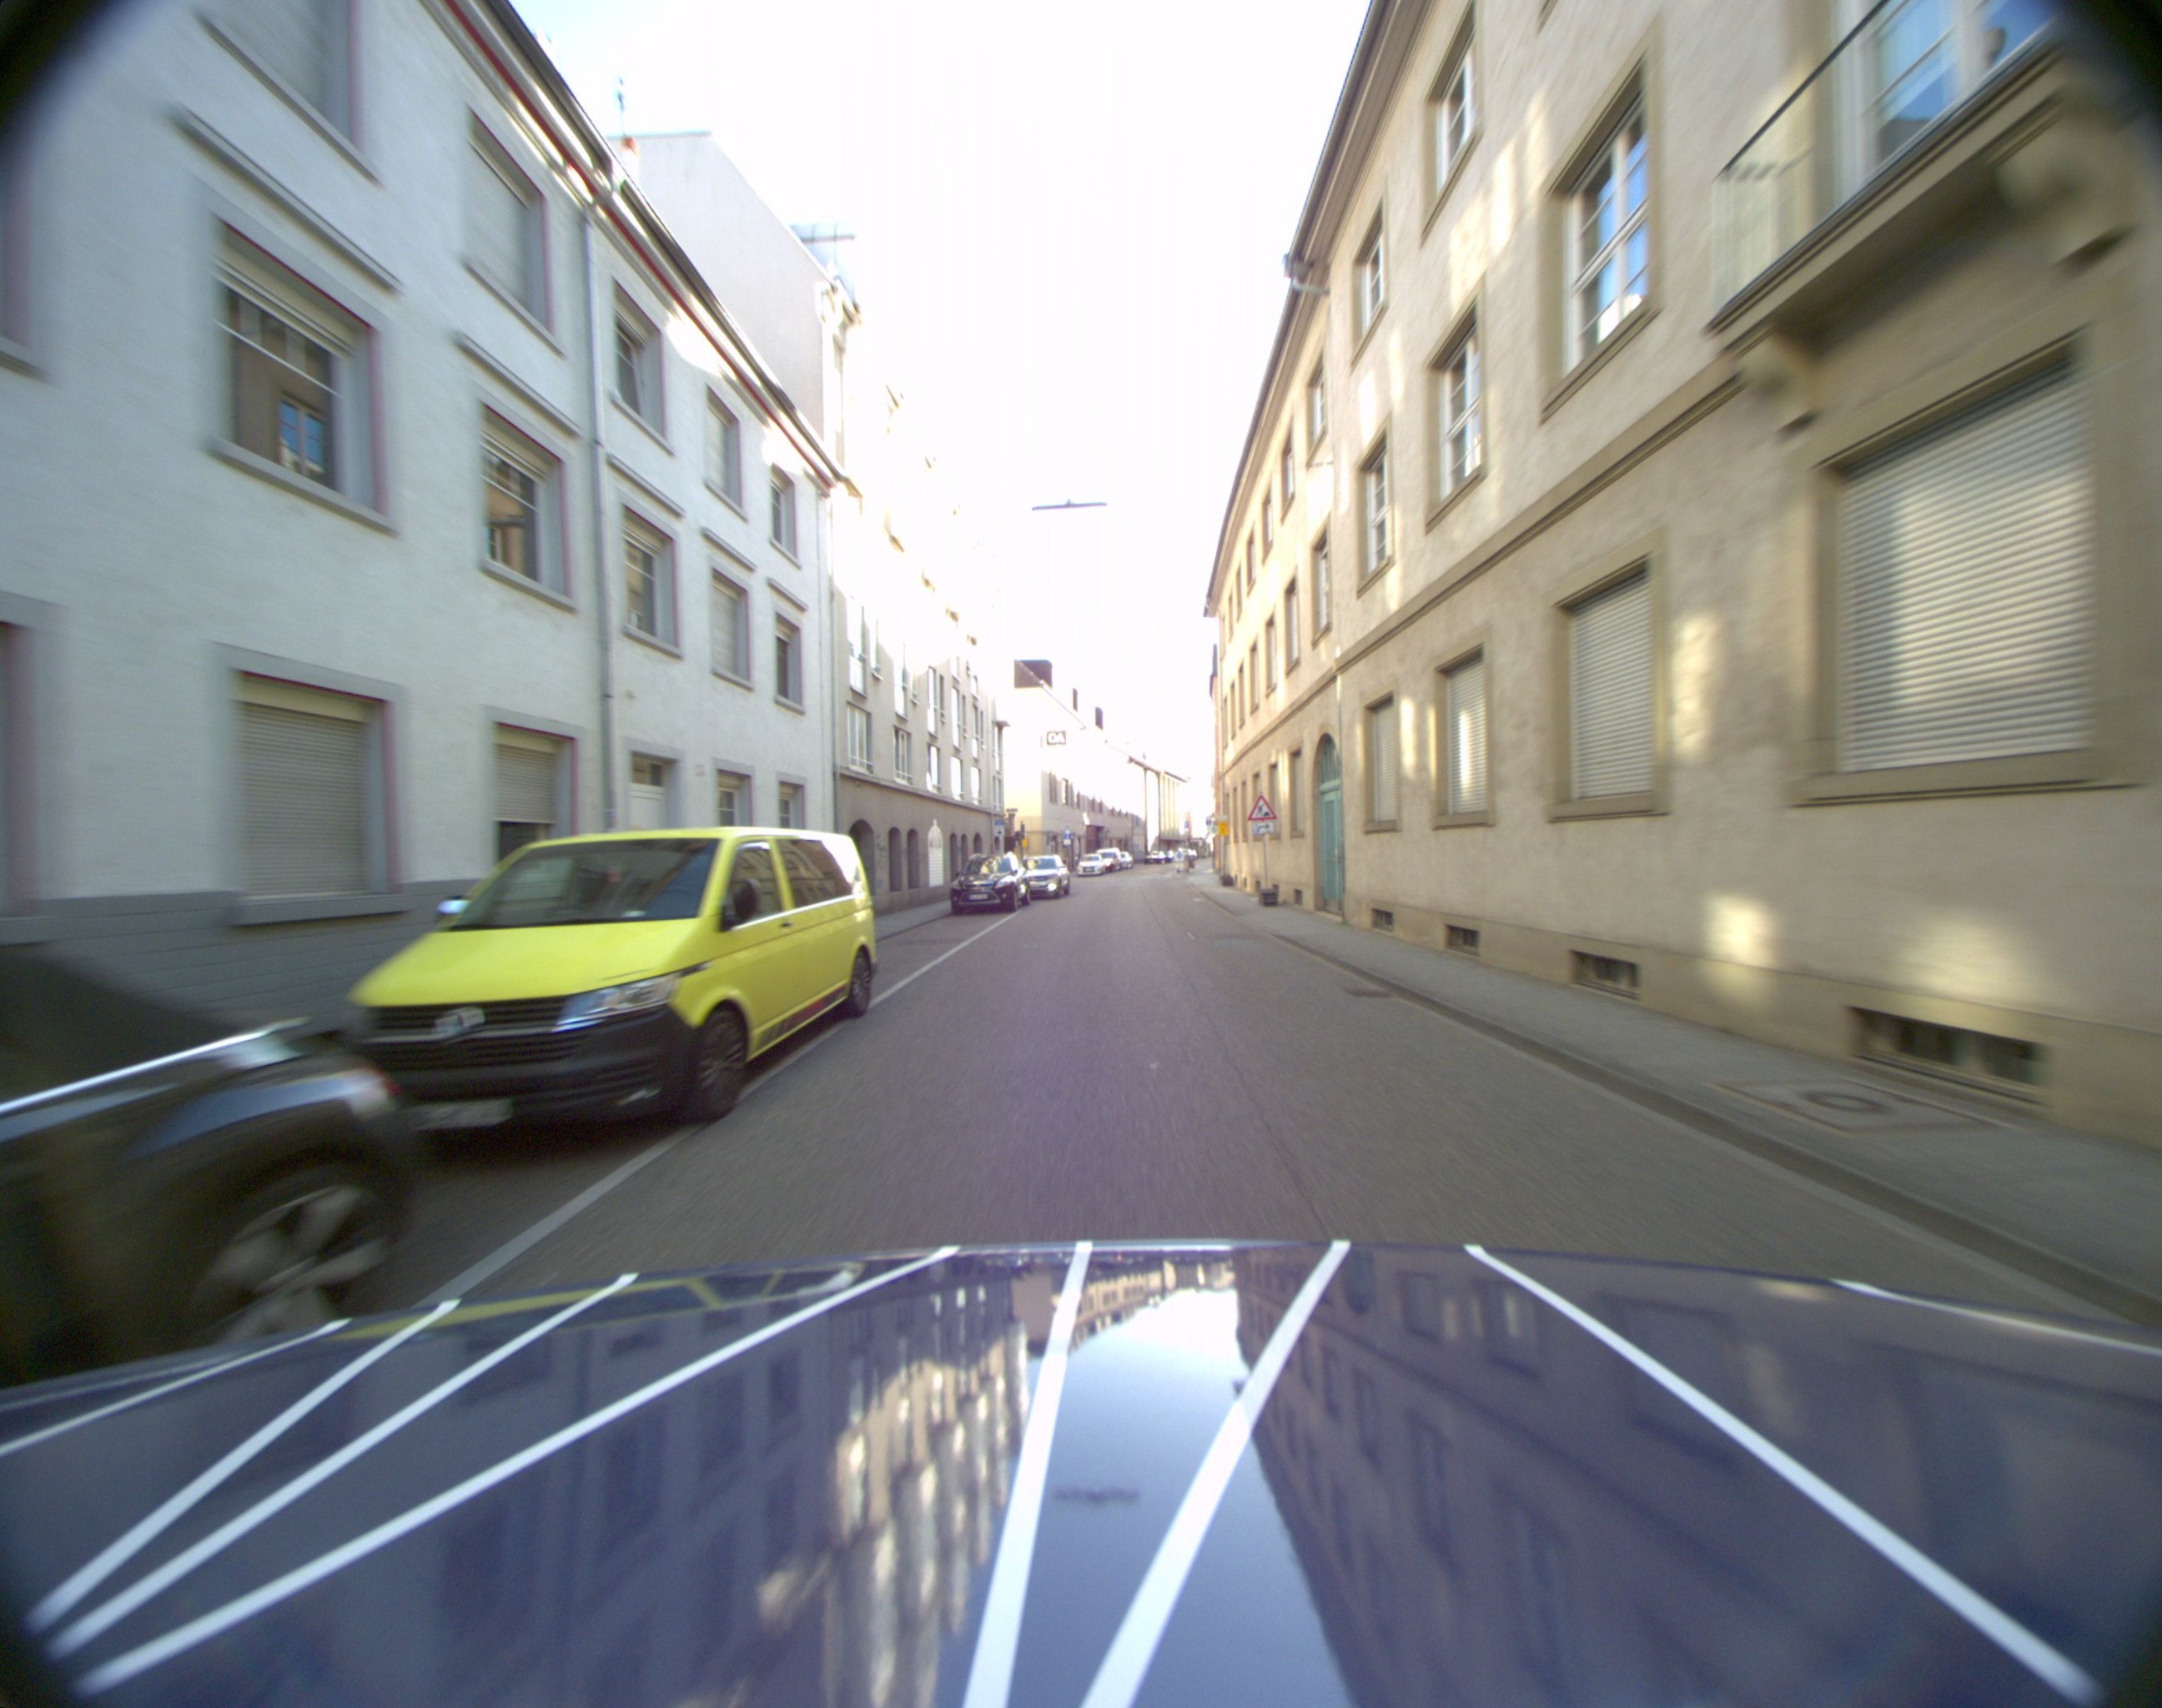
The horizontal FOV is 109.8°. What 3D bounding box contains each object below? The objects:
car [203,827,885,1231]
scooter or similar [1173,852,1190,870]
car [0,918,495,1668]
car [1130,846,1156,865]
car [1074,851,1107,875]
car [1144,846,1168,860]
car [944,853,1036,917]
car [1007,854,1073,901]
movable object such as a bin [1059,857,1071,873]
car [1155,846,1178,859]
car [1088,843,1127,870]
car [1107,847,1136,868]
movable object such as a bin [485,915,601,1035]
[{"bbox_3d":[-3.171,0.823,6.037,1.888,1.871,4.845,-2,0,0],"label":"car"},{"bbox_3d":[7.112,0.487,53.554,1.303,1.218,0.467,0,1,-44],"label":"scooter or similar"},{"bbox_3d":[-3.255,1.037,0.831,1.888,1.480,4.367,-2,0,-2],"label":"car"},{"bbox_3d":[6.060,0.136,74.216,1.774,1.574,3.860,-5,0,14],"label":"car"},{"bbox_3d":[0.706,0.591,51.987,1.734,1.539,4.002,-2,0,7],"label":"car"},{"bbox_3d":[8.407,-0.119,85.118,1.963,1.400,4.200,-3,1,15],"label":"car"},{"bbox_3d":[-2.581,0.829,22.651,1.829,1.645,4.494,-2,0,5],"label":"car"},{"bbox_3d":[-1.451,0.814,28.339,1.829,1.550,3.987,-2,0,5],"label":"car"},{"bbox_3d":[-1.167,0.785,54.537,0.687,1.080,0.930,-2,1,9],"label":"movable object such as a bin"},{"bbox_3d":[10.324,-0.149,91.406,1.963,1.400,4.200,-3,1,15],"label":"car"},{"bbox_3d":[2.100,0.152,59.211,1.946,1.850,5.199,-5,0,12],"label":"car"},{"bbox_3d":[3.519,0.277,65.095,1.774,1.574,3.859,-5,0,12],"label":"car"},{"bbox_3d":[-5.349,1.185,7.596,0.608,1.045,0.708,4,1,-1],"label":"movable object such as a bin"}]
